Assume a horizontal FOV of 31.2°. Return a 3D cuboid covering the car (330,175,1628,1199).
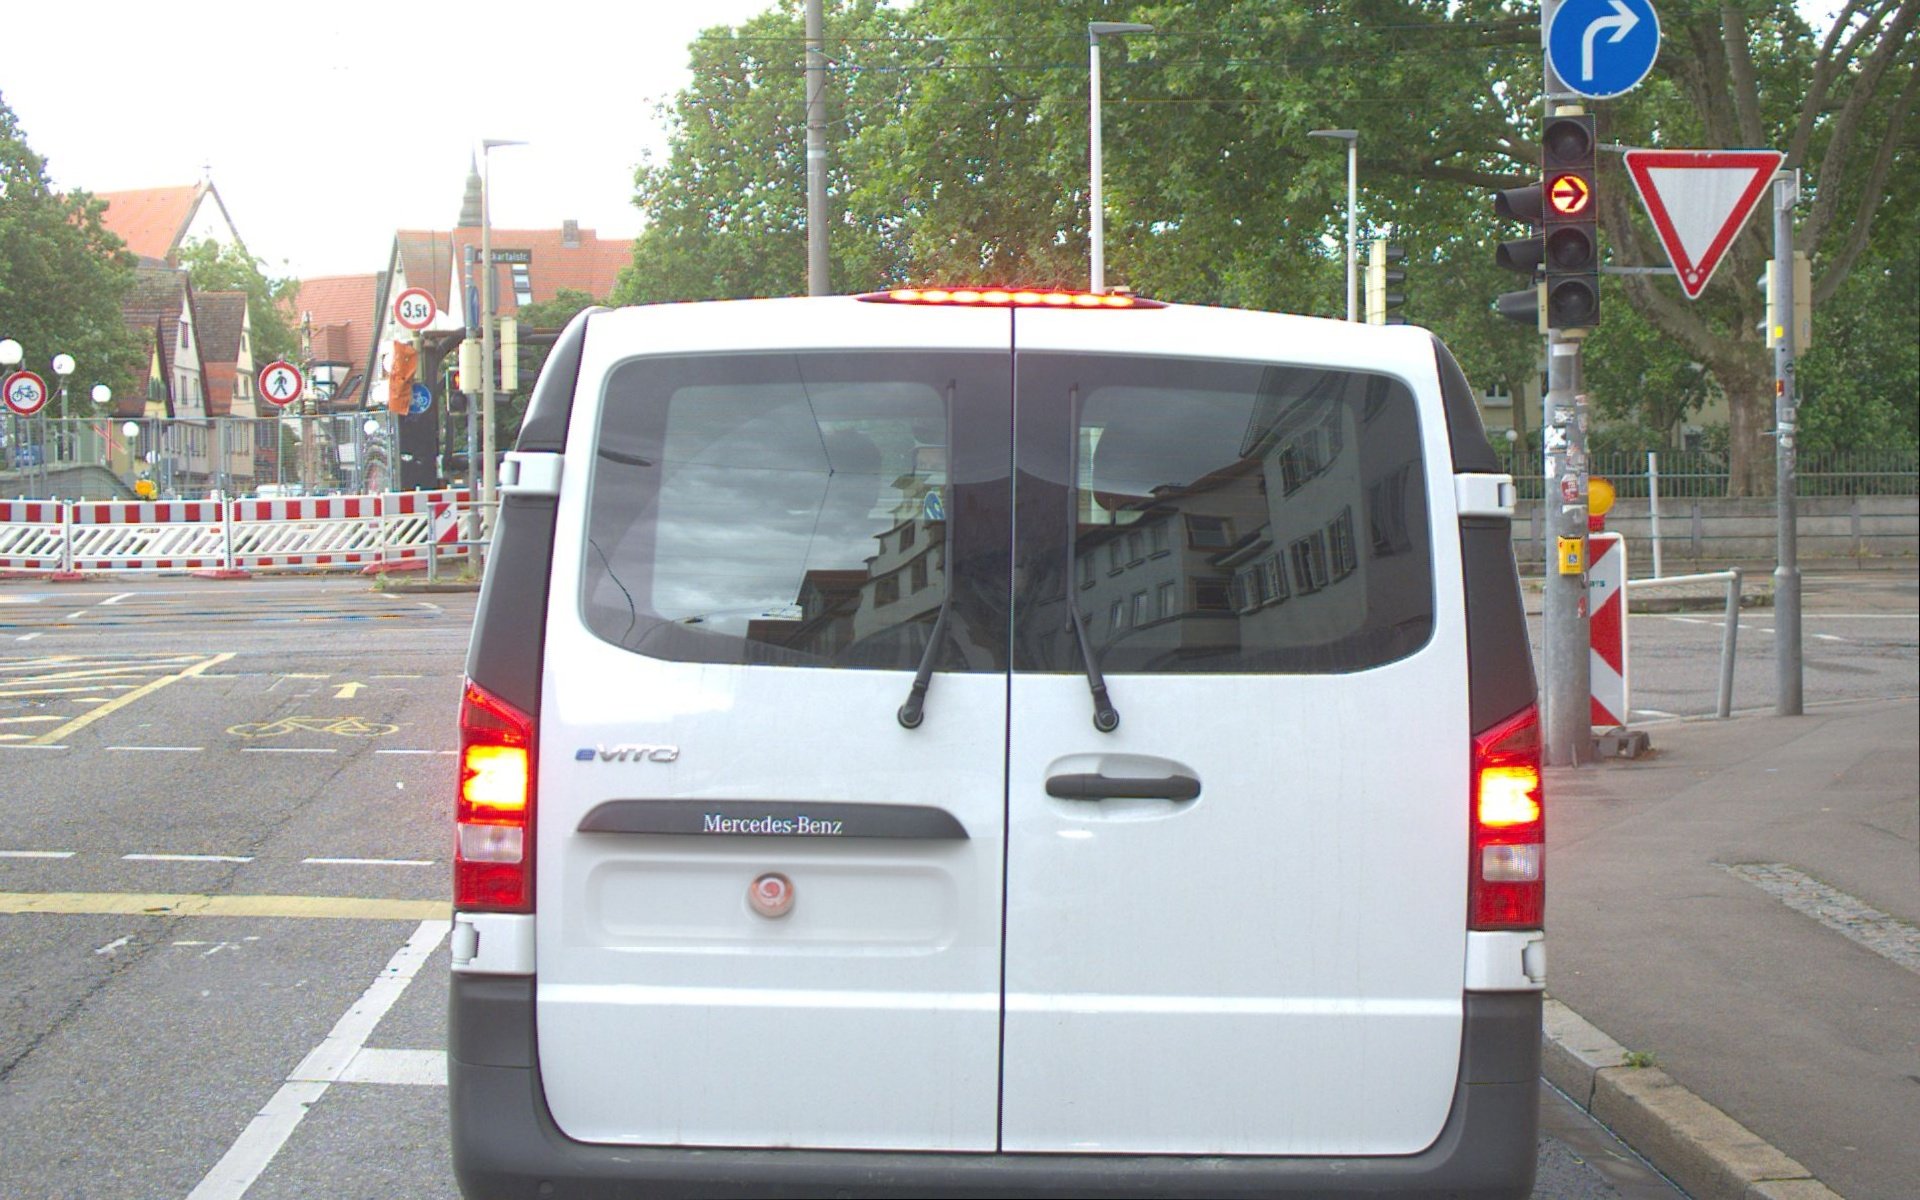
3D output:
[{"bbox_3d":[-0.004,0.277,7.576,1.951,2.006,4.699,1,2,-1],"label":"car"}]
